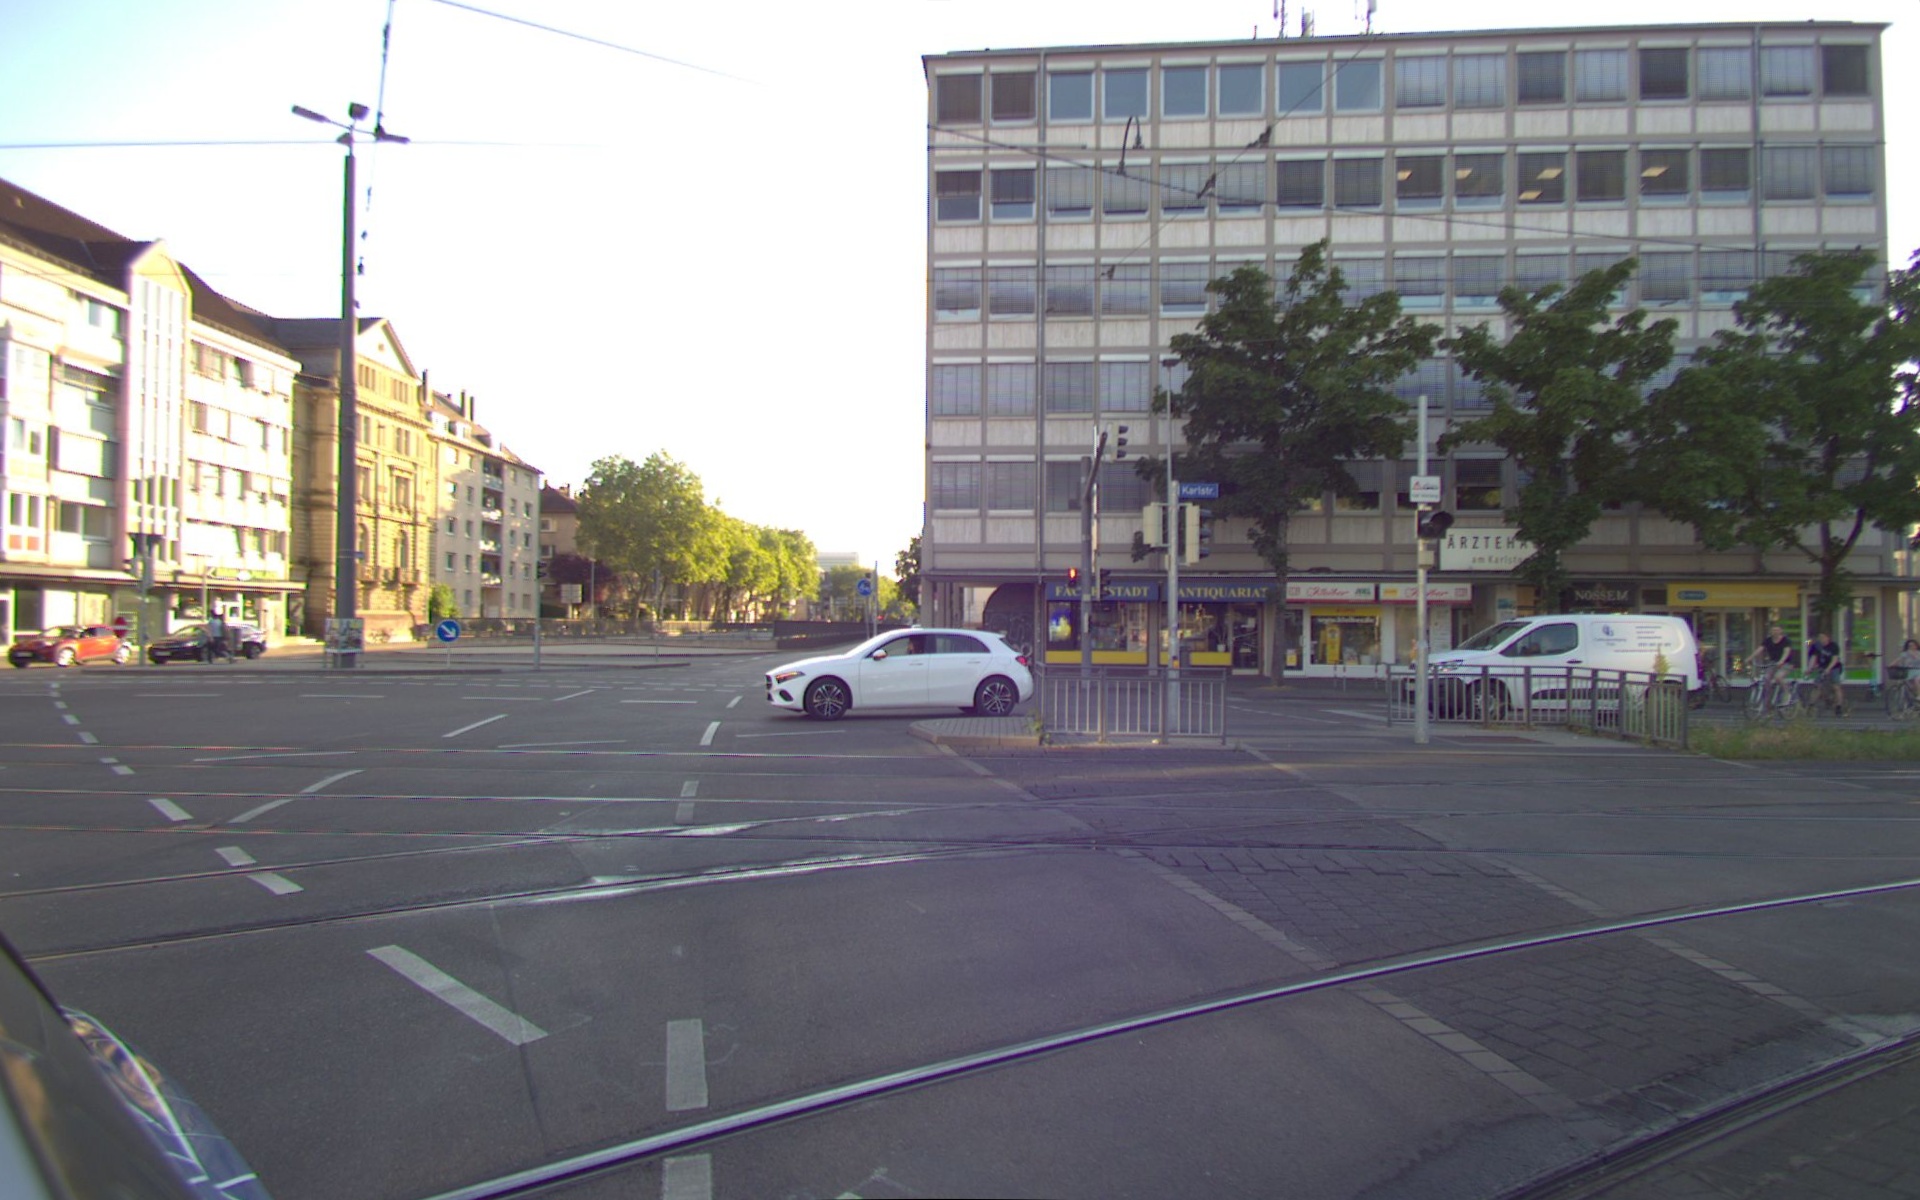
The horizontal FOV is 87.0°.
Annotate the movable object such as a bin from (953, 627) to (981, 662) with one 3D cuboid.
[{"bbox_3d":[0.279,1.719,39.544,0.949,1.337,1.411,0,-1,7],"label":"movable object such as a bin"}]

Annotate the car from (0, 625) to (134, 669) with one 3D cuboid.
[{"bbox_3d":[-31.531,1.620,35.748,1.625,1.433,3.898,1,-1,-2],"label":"car"}]

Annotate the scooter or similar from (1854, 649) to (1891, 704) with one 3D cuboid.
[{"bbox_3d":[23.300,1.929,25.865,0.513,1.332,1.266,0,-2,34],"label":"scooter or similar"}]

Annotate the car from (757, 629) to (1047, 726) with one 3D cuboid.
[{"bbox_3d":[-1.009,1.236,16.513,4.488,1.460,1.821,1,-3,-12],"label":"car"}]

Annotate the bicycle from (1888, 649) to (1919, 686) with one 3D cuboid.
[{"bbox_3d":[31.965,2.264,33.444,1.768,1.195,0.550,3,-1,21],"label":"bicycle"}]

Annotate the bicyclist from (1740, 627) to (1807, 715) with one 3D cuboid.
[{"bbox_3d":[15.577,1.342,19.386,0.688,1.624,0.740,1,-1,-22],"label":"bicyclist"}]

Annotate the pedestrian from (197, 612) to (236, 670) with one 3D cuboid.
[{"bbox_3d":[-21.695,1.175,29.515,0.771,1.661,0.717,0,-2,39],"label":"pedestrian"}]

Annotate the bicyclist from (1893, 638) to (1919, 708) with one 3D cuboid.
[{"bbox_3d":[19.384,1.472,20.304,0.673,1.380,0.718,1,-1,-13],"label":"bicyclist"}]

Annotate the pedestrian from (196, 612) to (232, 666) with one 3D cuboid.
[{"bbox_3d":[-22.221,1.157,30.144,0.826,1.594,0.695,-1,-2,44],"label":"pedestrian"}]

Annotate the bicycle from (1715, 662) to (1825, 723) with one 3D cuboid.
[{"bbox_3d":[15.482,1.740,19.339,2.022,1.084,0.759,1,-1,-22],"label":"bicycle"}]

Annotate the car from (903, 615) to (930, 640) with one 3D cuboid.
[{"bbox_3d":[-3.721,2.361,87.408,1.974,2.029,4.257,0,-1,3],"label":"car"}]

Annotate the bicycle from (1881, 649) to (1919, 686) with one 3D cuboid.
[{"bbox_3d":[32.508,2.319,34.361,1.706,1.195,0.536,3,-1,21],"label":"bicycle"}]

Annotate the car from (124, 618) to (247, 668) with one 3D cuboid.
[{"bbox_3d":[-28.103,1.515,36.929,2.185,1.567,4.626,-3,0,-19],"label":"car"}]

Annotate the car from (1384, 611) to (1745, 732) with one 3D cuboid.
[{"bbox_3d":[9.993,1.155,17.087,4.812,1.852,1.998,1,-1,4],"label":"car"}]

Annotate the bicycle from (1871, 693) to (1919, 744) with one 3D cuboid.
[{"bbox_3d":[19.423,2.353,20.298,1.922,0.937,0.726,1,-1,-13],"label":"bicycle"}]
